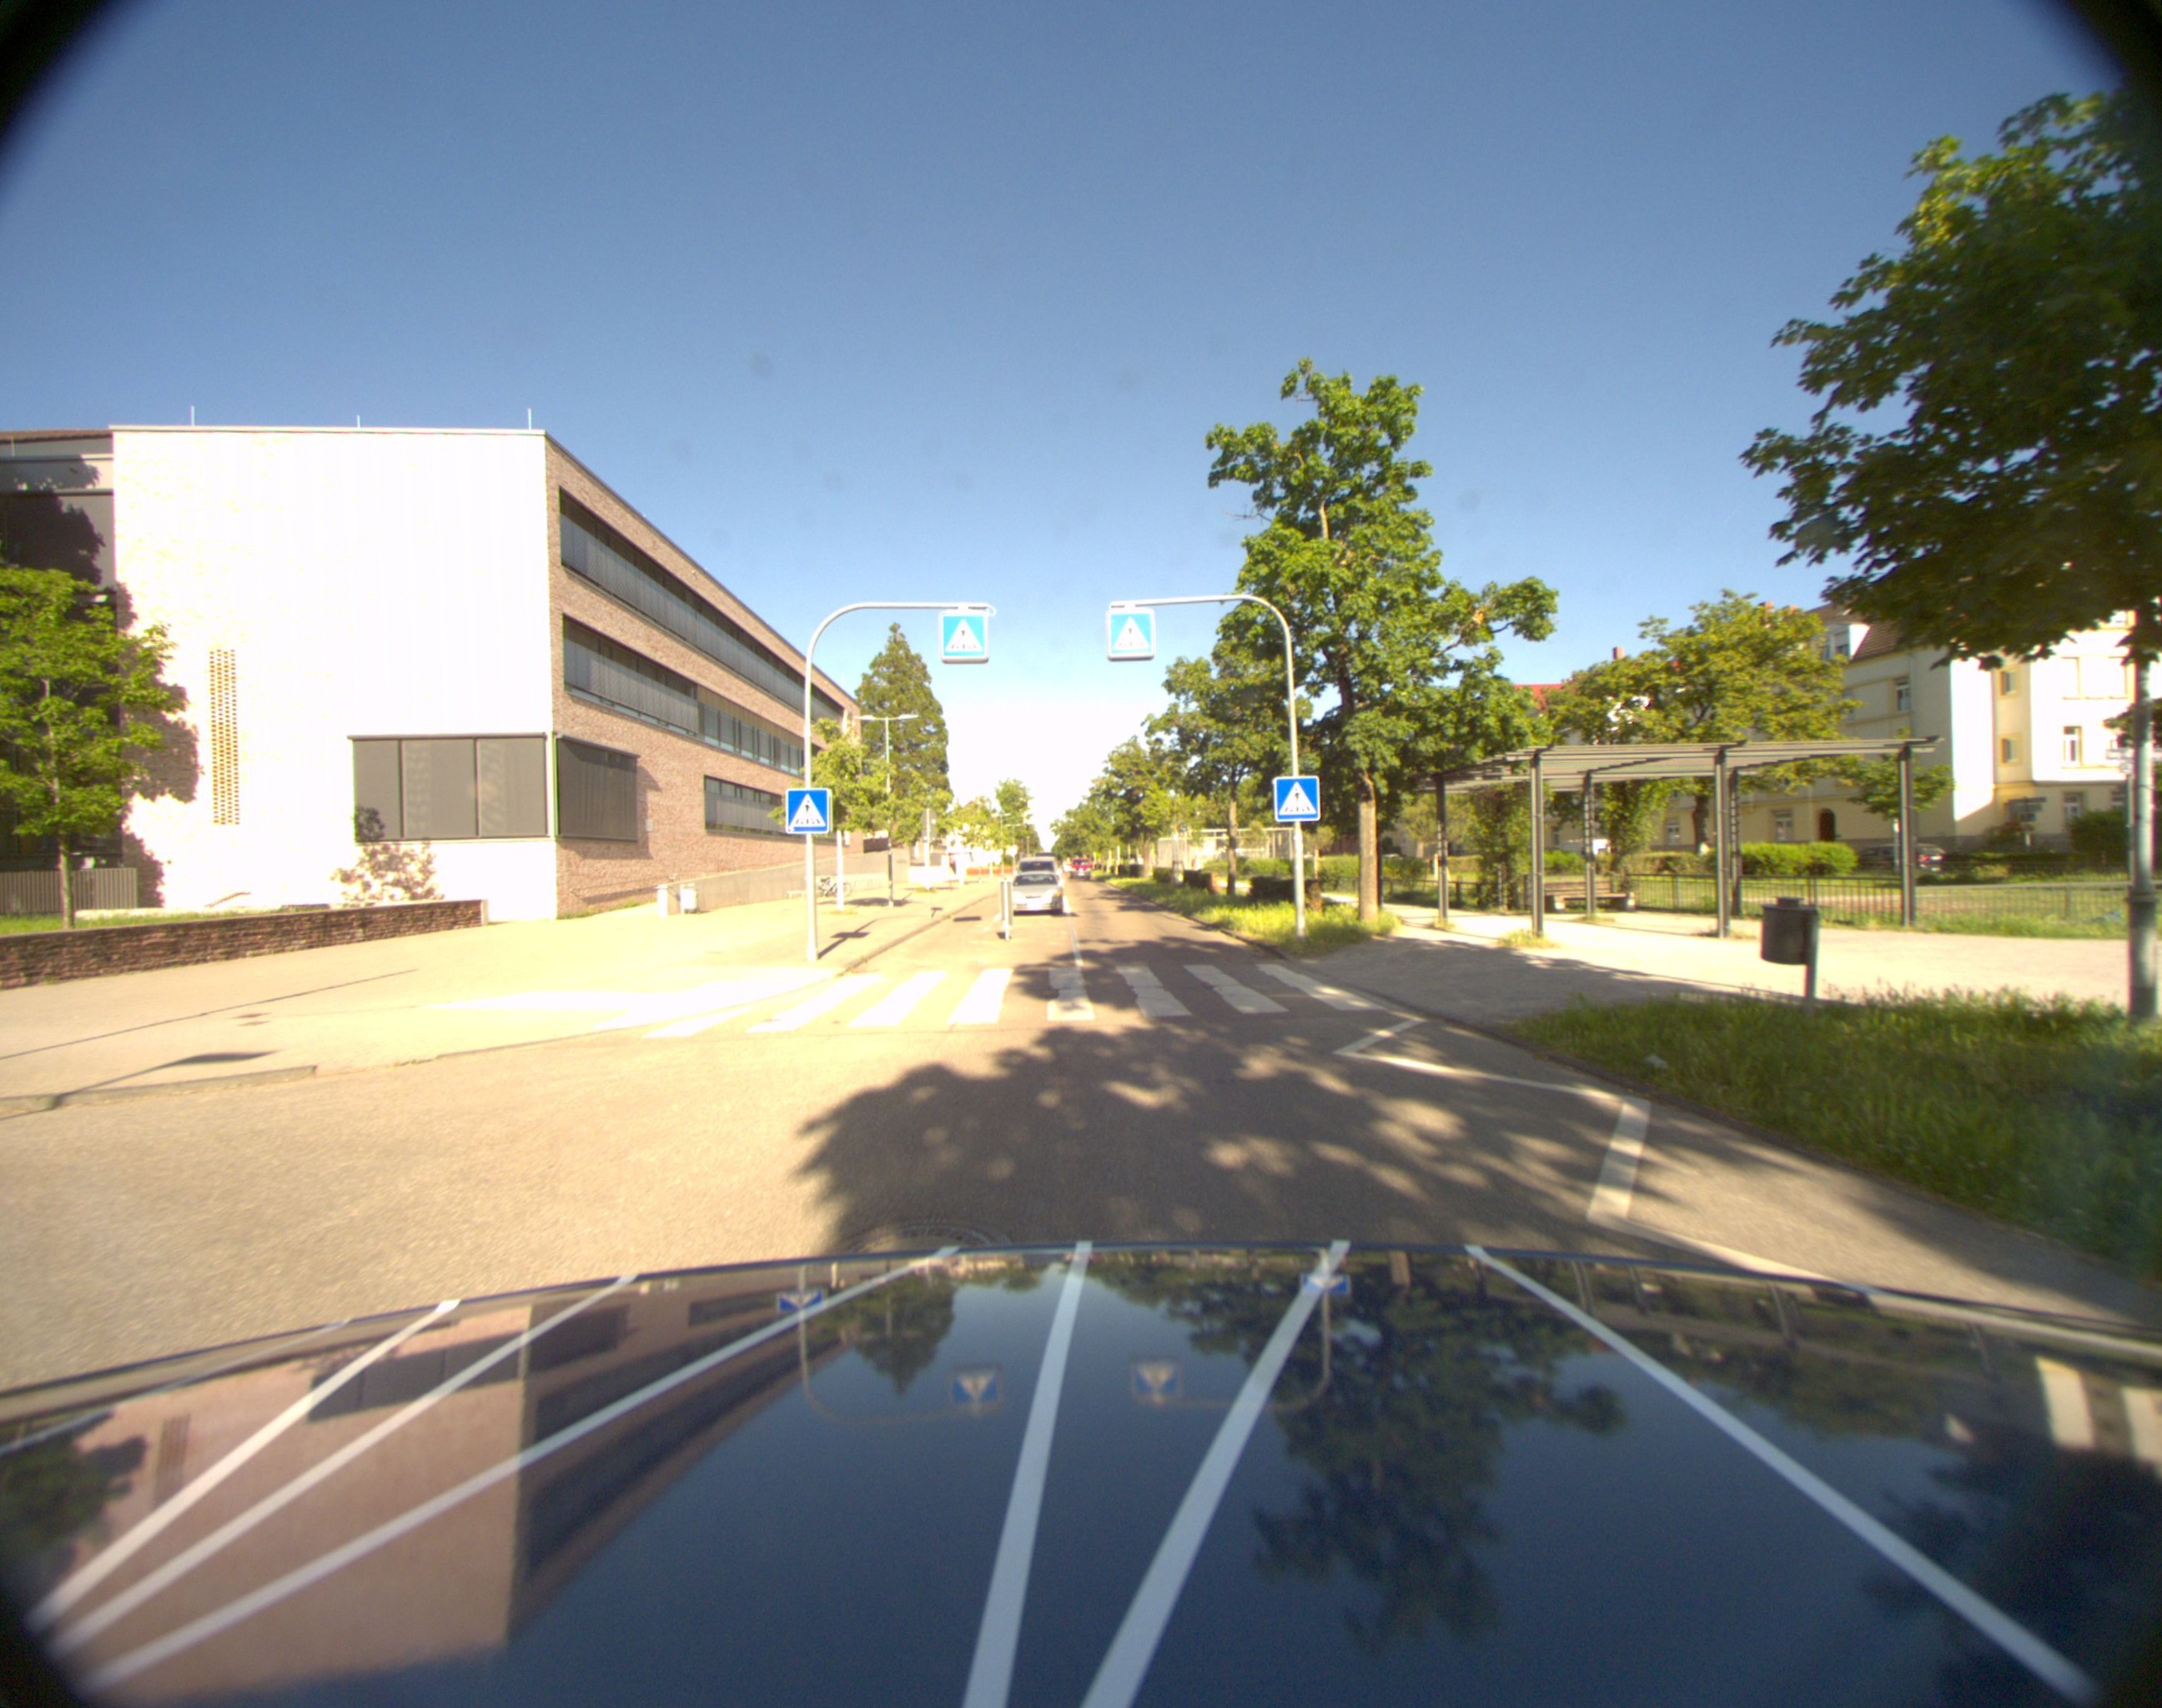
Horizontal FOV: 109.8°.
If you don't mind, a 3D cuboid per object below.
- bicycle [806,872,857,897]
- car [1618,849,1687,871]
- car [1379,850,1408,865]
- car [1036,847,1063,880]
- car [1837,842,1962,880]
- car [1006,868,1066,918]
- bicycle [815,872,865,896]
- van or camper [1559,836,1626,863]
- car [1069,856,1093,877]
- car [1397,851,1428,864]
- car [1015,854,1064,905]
[{"bbox_3d":[-11.511,1.408,35.077,2.030,1.057,0.882,1,0,-3],"label":"bicycle"},{"bbox_3d":[40.485,0.412,53.933,1.845,1.444,4.000,-2,0,-1],"label":"car"},{"bbox_3d":[39.073,0.457,95.031,1.955,1.783,4.000,-2,0,-1],"label":"car"},{"bbox_3d":[-2.645,0.783,64.759,2.074,2.583,6.202,-2,0,-1],"label":"car"},{"bbox_3d":[41.069,0.342,38.265,1.955,1.783,4.000,-2,0,-1],"label":"car"},{"bbox_3d":[-1.340,1.170,24.291,1.652,1.324,4.934,-2,0,-1],"label":"car"},{"bbox_3d":[-11.510,1.423,36.366,2.085,1.057,0.860,1,0,-2],"label":"bicycle"},{"bbox_3d":[40.326,-0.333,60.018,2.274,2.002,4.373,-2,0,-2],"label":"van or camper"},{"bbox_3d":[-0.016,1.127,72.282,2.022,1.867,4.739,-2,0,-2],"label":"car"},{"bbox_3d":[39.080,0.366,89.612,1.845,1.444,4.000,-2,0,-1],"label":"car"},{"bbox_3d":[-1.638,0.979,31.315,1.788,1.899,4.626,-2,0,-1],"label":"car"}]
